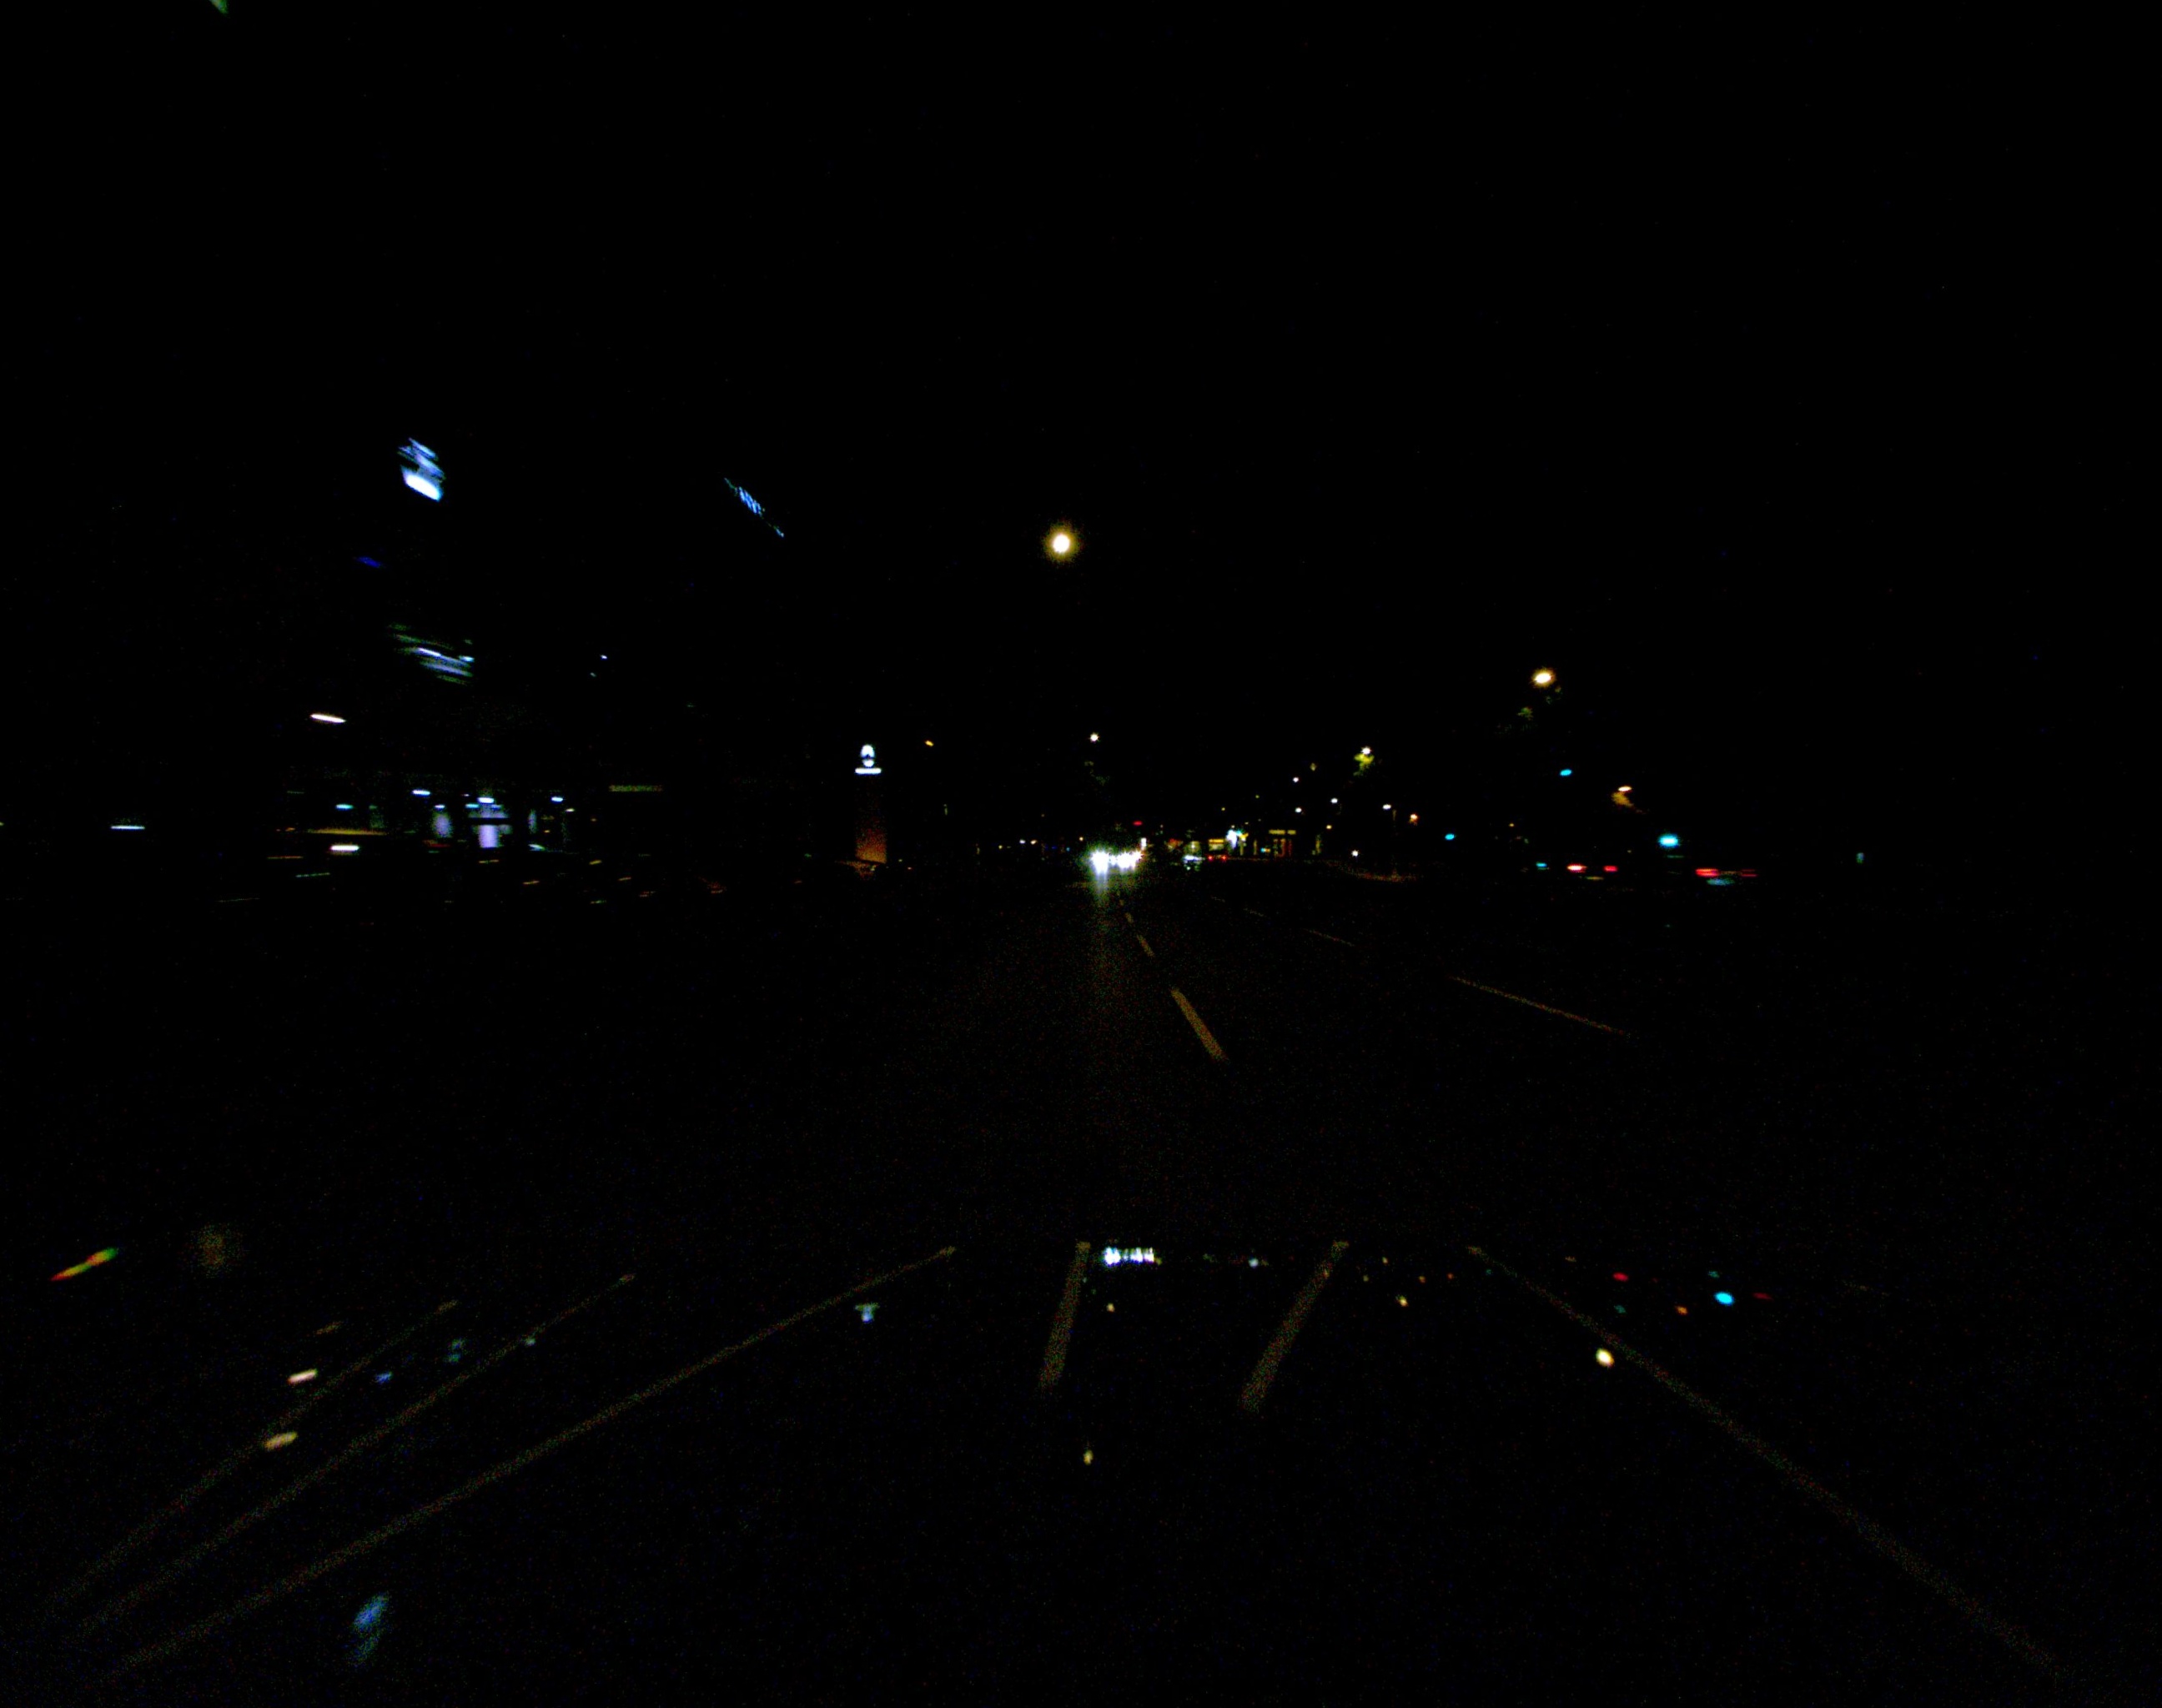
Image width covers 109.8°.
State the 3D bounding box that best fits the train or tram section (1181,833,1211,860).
[{"bbox_3d":[17.766,-1.135,118.479,2.744,3.824,19.366,-1,0,3],"label":"train or tram section"}]

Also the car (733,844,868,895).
[{"bbox_3d":[-9.803,0.535,26.845,4.094,1.559,1.853,3,0,-9],"label":"car"}]

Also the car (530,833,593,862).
[{"bbox_3d":[-30.962,-0.413,45.424,2.002,1.652,4.659,-2,2,-21],"label":"car"}]

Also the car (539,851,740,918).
[{"bbox_3d":[-10.465,0.715,18.287,3.816,1.444,1.715,2,0,-12],"label":"car"}]

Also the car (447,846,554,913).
[{"bbox_3d":[-14.907,0.578,19.477,1.997,1.521,3.988,0,0,-39],"label":"car"}]

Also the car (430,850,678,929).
[{"bbox_3d":[-10.656,0.716,15.658,3.781,1.371,1.714,3,0,-12],"label":"car"}]

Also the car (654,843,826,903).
[{"bbox_3d":[-10.443,0.569,23.571,4.475,1.539,1.768,3,1,-8],"label":"car"}]

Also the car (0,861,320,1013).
[{"bbox_3d":[-10.712,0.763,7.571,4.004,1.383,1.823,1,-1,-21],"label":"car"}]

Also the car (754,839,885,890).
[{"bbox_3d":[-10.134,0.402,29.785,4.475,1.677,1.998,3,0,-9],"label":"car"}]

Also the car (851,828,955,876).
[{"bbox_3d":[-11.074,-0.084,47.450,6.041,2.514,2.280,4,0,-15],"label":"car"}]

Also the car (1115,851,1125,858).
[{"bbox_3d":[8.885,0.175,173.614,1.858,1.482,3.561,-1,0,8],"label":"car"}]

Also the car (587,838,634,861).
[{"bbox_3d":[-28.464,-0.305,46.062,1.659,1.328,3.871,1,1,-21],"label":"car"}]

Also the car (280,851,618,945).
[{"bbox_3d":[-10.572,0.735,13.078,4.038,1.365,1.823,3,0,-14],"label":"car"}]

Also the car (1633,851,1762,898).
[{"bbox_3d":[22.333,0.688,27.733,1.664,1.508,3.911,-1,1,3],"label":"car"}]

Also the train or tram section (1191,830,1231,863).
[{"bbox_3d":[16.806,-0.978,99.514,2.765,3.805,18.672,-1,0,3],"label":"train or tram section"}]

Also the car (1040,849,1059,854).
[{"bbox_3d":[-6.730,-0.485,161.332,4.008,1.028,1.480,0,0,-39],"label":"car"}]

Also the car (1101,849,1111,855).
[{"bbox_3d":[5.659,-0.435,171.976,1.947,1.299,3.907,1,1,8],"label":"car"}]

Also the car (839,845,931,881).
[{"bbox_3d":[-9.623,0.443,37.634,4.216,1.653,1.959,2,0,-9],"label":"car"}]

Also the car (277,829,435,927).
[{"bbox_3d":[-16.283,0.462,17.341,1.838,1.907,4.815,-2,1,-35],"label":"car"}]

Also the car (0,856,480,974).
[{"bbox_3d":[-10.749,0.762,10.048,4.000,1.373,1.807,1,0,-9],"label":"car"}]

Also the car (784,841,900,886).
[{"bbox_3d":[-10.161,0.406,32.657,4.475,1.799,1.998,1,0,-9],"label":"car"}]

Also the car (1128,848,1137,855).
[{"bbox_3d":[11.731,-0.555,172.681,1.907,1.609,3.719,-1,1,3],"label":"car"}]

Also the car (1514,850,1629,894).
[{"bbox_3d":[19.419,0.652,30.330,1.789,1.489,4.172,-1,2,-2],"label":"car"}]
